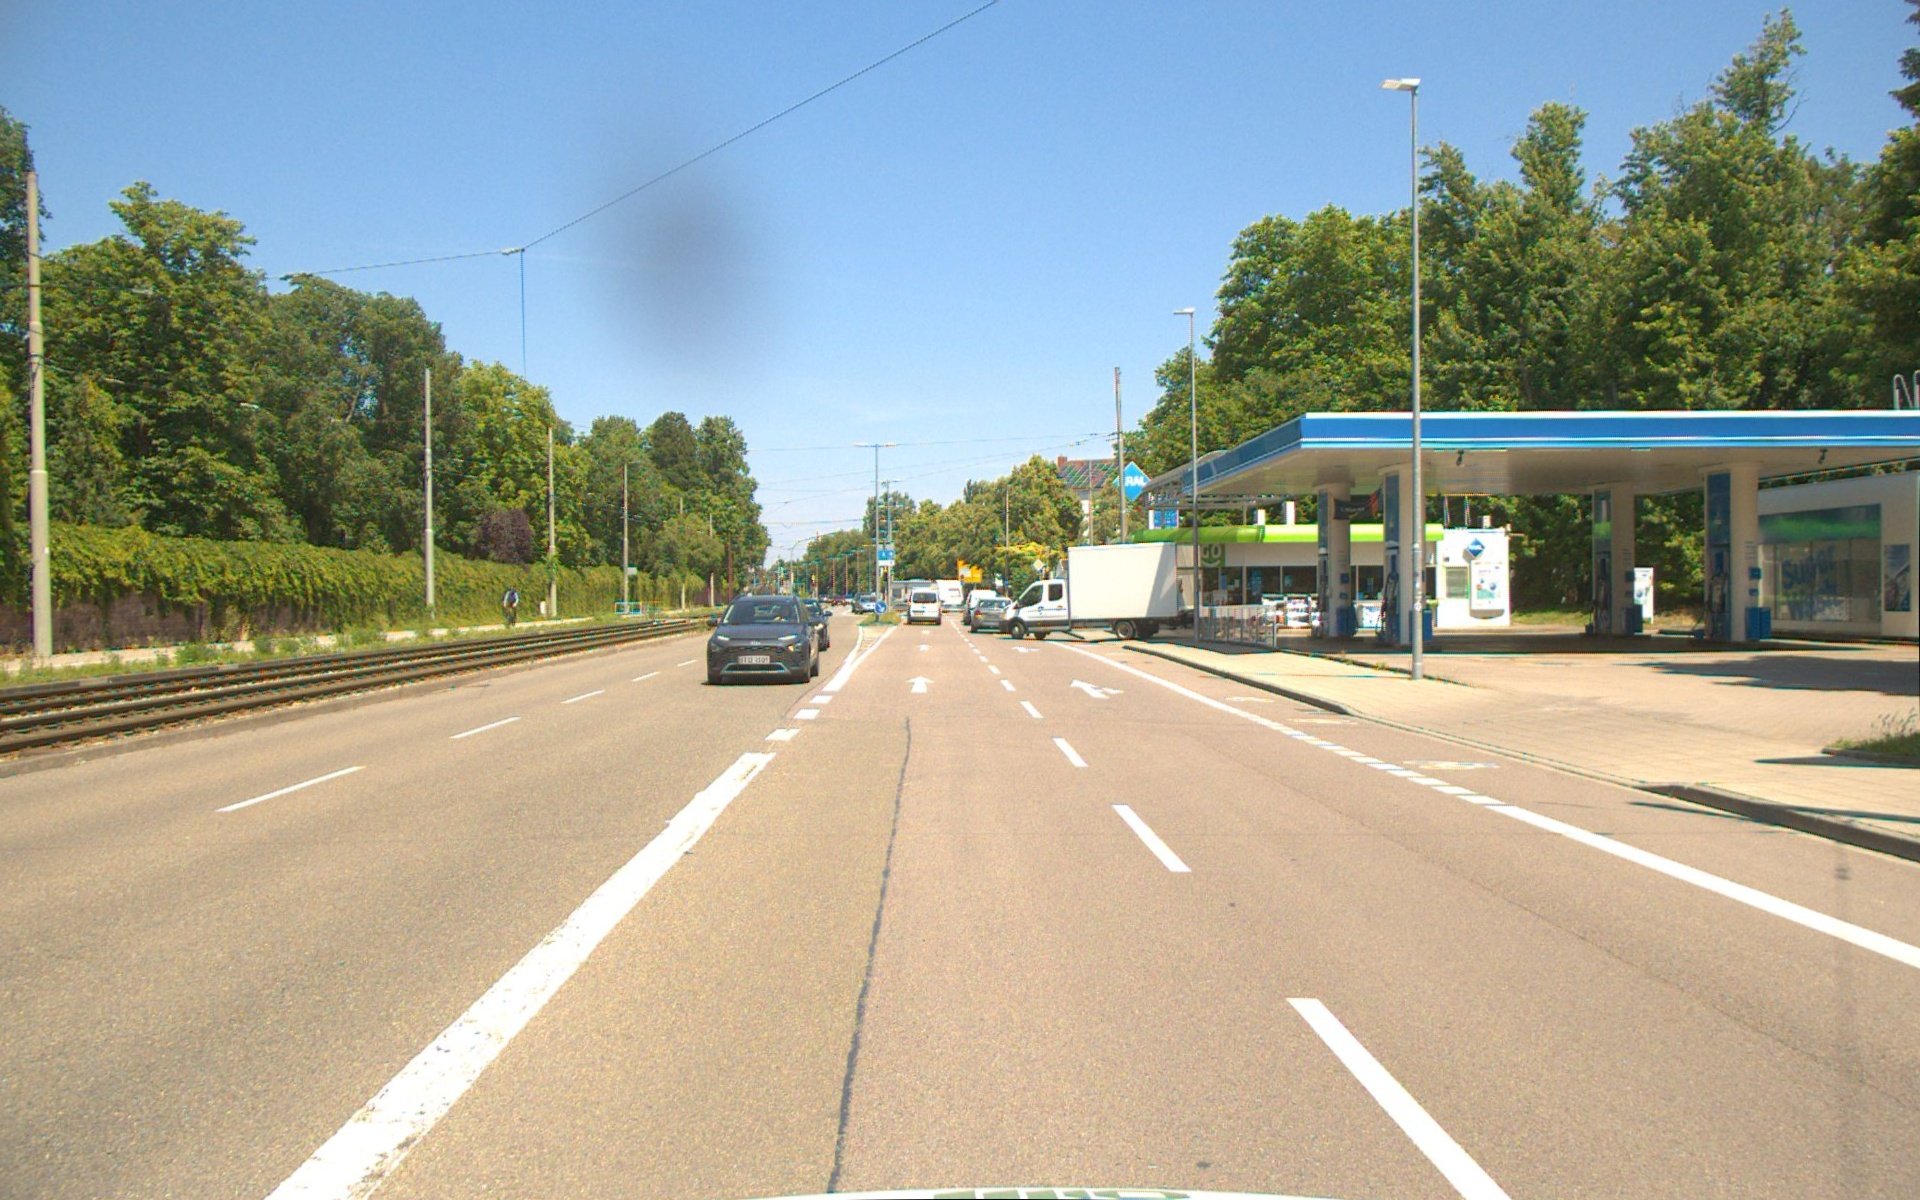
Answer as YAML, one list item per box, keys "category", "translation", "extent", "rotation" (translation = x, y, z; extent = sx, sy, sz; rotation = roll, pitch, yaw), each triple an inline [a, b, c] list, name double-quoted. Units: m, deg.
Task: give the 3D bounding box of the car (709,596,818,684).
- category: "car"
  translation: [-3.428, 0.687, 29.443]
  extent: [1.679, 1.447, 4.139]
  rotation: [0, -1, -3]

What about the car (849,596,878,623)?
- category: "car"
  translation: [-7.497, 0.709, 128.542]
  extent: [1.956, 2.049, 3.993]
  rotation: [0, 0, -8]

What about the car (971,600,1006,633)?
- category: "car"
  translation: [1.313, 0.746, 77.055]
  extent: [1.574, 1.477, 3.520]
  rotation: [0, 0, -1]

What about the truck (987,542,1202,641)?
- category: "truck"
  translation: [4.908, -0.278, 61.020]
  extent: [7.662, 3.451, 2.423]
  rotation: [0, 0, 30]

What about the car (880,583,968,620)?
- category: "car"
  translation: [-2.589, 0.095, 117.209]
  extent: [6.113, 2.561, 2.687]
  rotation: [0, 0, 43]

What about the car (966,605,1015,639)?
- category: "car"
  translation: [1.272, 0.922, 70.787]
  extent: [1.736, 1.445, 3.997]
  rotation: [0, 0, -4]

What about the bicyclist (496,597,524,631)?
- category: "bicyclist"
  translation: [-19.880, 0.605, 73.116]
  extent: [0.975, 1.512, 1.000]
  rotation: [0, 0, -3]

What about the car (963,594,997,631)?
- category: "car"
  translation: [1.013, 0.631, 85.965]
  extent: [1.675, 1.862, 4.012]
  rotation: [0, 0, -1]

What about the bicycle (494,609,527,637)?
- category: "bicycle"
  translation: [-19.880, 1.009, 73.187]
  extent: [0.811, 1.176, 2.684]
  rotation: [0, 0, -2]

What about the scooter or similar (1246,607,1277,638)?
- category: "scooter or similar"
  translation: [11.475, 0.857, 62.884]
  extent: [1.112, 1.197, 0.384]
  rotation: [0, 0, -1]

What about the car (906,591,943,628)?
- category: "car"
  translation: [-1.855, 0.457, 84.706]
  extent: [1.829, 1.868, 3.847]
  rotation: [0, 0, -2]

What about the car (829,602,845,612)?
- category: "car"
  translation: [-16.777, 0.909, 226.041]
  extent: [1.943, 1.382, 4.537]
  rotation: [0, 0, -1]
